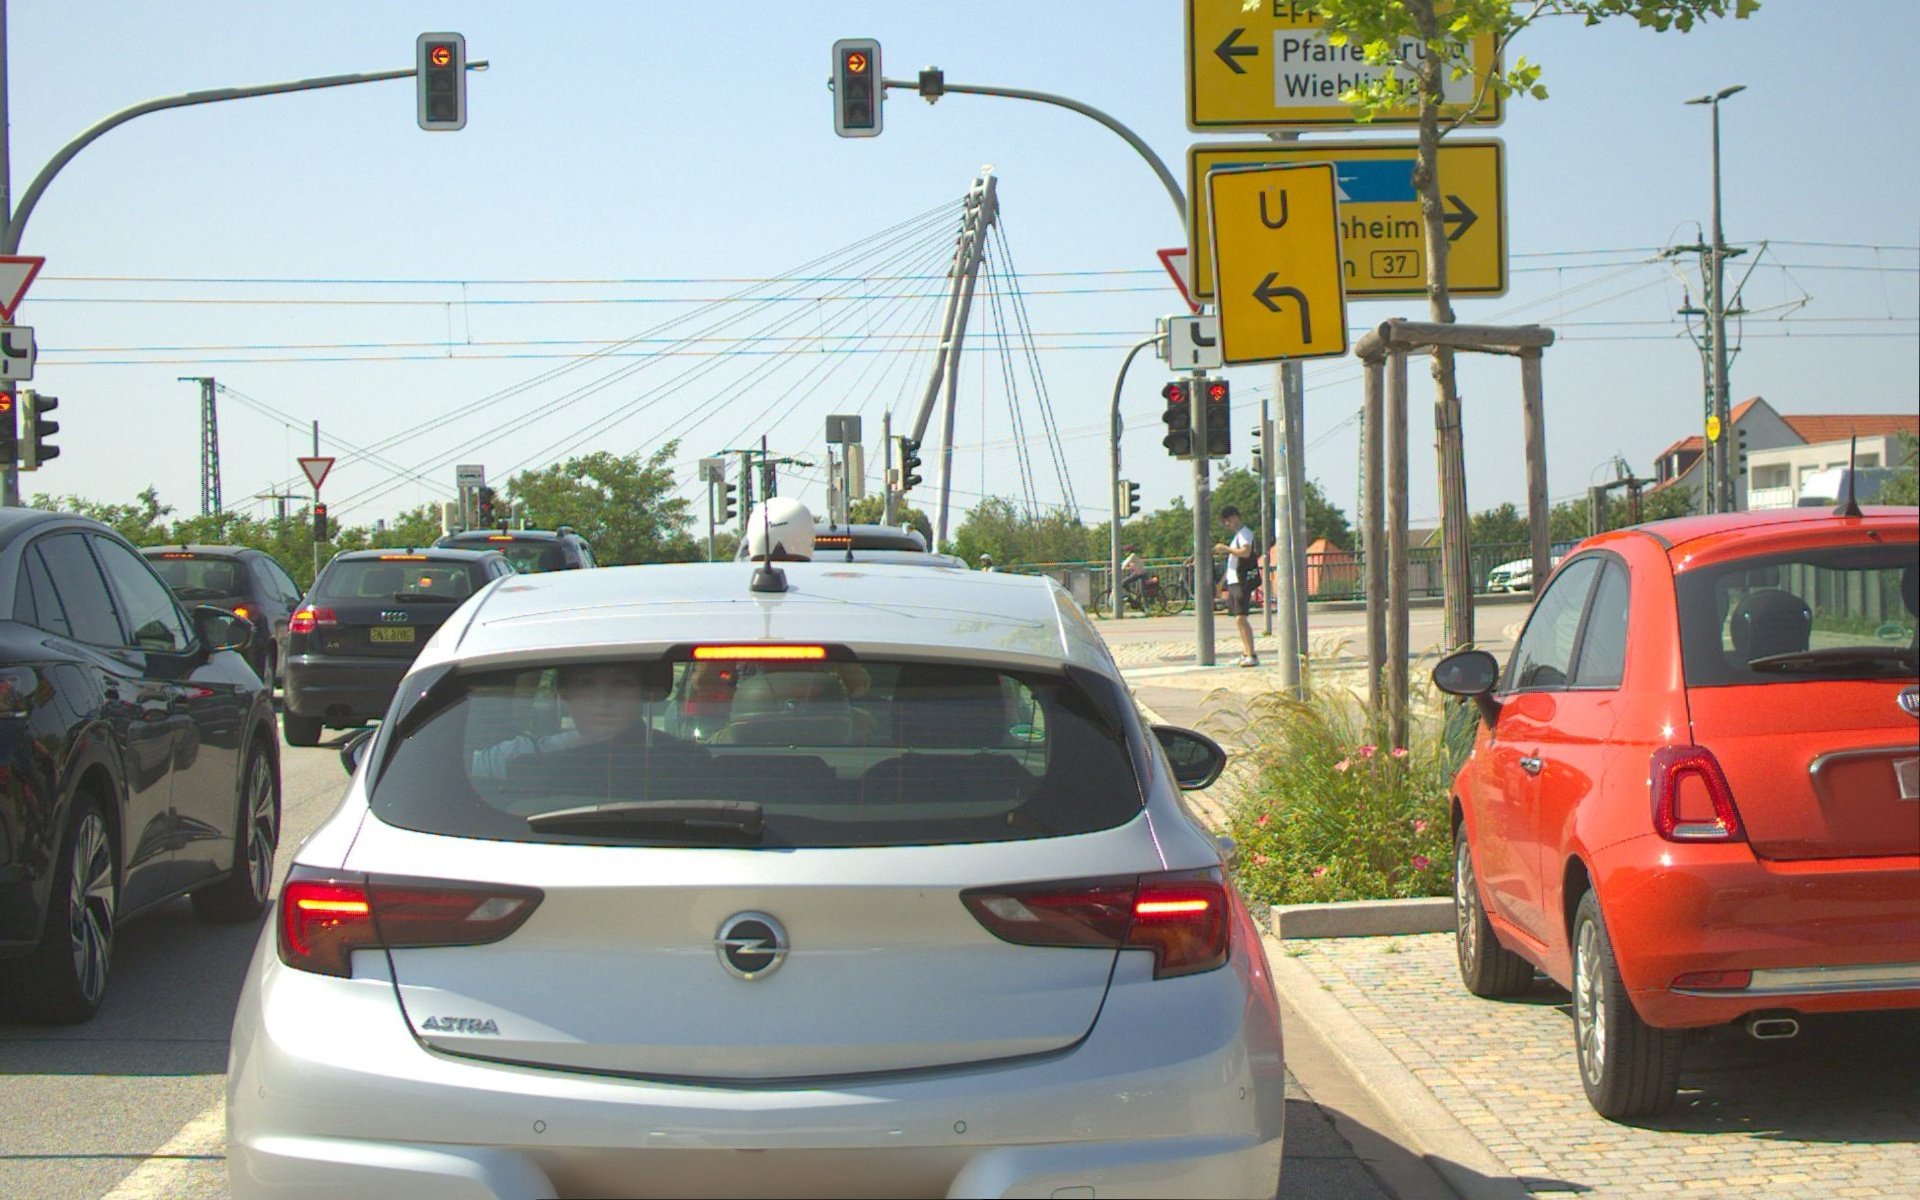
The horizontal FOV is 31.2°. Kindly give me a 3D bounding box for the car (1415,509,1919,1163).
[{"bbox_3d":[2.330,0.514,9.758,1.610,1.491,3.352,-2,1,1],"label":"car"}]

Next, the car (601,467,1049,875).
[{"bbox_3d":[-0.635,0.264,17.706,1.993,1.814,4.402,1,2,-1],"label":"car"}]

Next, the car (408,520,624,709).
[{"bbox_3d":[-4.024,0.107,31.631,1.649,1.610,3.821,1,1,-3],"label":"car"}]

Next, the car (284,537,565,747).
[{"bbox_3d":[-3.919,0.272,25.651,1.575,1.429,3.786,1,1,-1],"label":"car"}]

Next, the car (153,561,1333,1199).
[{"bbox_3d":[-0.428,0.668,7.124,1.742,1.473,4.001,1,1,-3],"label":"car"}]

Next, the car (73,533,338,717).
[{"bbox_3d":[-6.758,0.196,31.128,1.597,1.542,3.762,1,1,-1],"label":"car"}]

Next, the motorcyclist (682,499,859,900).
[{"bbox_3d":[-0.665,0.341,12.253,0.581,1.384,0.707,1,0,-1],"label":"motorcyclist"}]

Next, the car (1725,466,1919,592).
[{"bbox_3d":[17.394,-1.338,66.448,4.999,2.368,1.784,0,0,-23],"label":"car"}]

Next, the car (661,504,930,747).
[{"bbox_3d":[-1.092,0.112,24.417,1.724,1.558,4.000,1,2,0],"label":"car"}]

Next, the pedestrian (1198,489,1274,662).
[{"bbox_3d":[2.992,-0.272,37.310,0.647,1.830,0.798,-3,0,-2],"label":"pedestrian"}]

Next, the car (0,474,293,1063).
[{"bbox_3d":[-3.579,0.433,11.710,1.801,1.636,4.366,1,1,-1],"label":"car"}]
